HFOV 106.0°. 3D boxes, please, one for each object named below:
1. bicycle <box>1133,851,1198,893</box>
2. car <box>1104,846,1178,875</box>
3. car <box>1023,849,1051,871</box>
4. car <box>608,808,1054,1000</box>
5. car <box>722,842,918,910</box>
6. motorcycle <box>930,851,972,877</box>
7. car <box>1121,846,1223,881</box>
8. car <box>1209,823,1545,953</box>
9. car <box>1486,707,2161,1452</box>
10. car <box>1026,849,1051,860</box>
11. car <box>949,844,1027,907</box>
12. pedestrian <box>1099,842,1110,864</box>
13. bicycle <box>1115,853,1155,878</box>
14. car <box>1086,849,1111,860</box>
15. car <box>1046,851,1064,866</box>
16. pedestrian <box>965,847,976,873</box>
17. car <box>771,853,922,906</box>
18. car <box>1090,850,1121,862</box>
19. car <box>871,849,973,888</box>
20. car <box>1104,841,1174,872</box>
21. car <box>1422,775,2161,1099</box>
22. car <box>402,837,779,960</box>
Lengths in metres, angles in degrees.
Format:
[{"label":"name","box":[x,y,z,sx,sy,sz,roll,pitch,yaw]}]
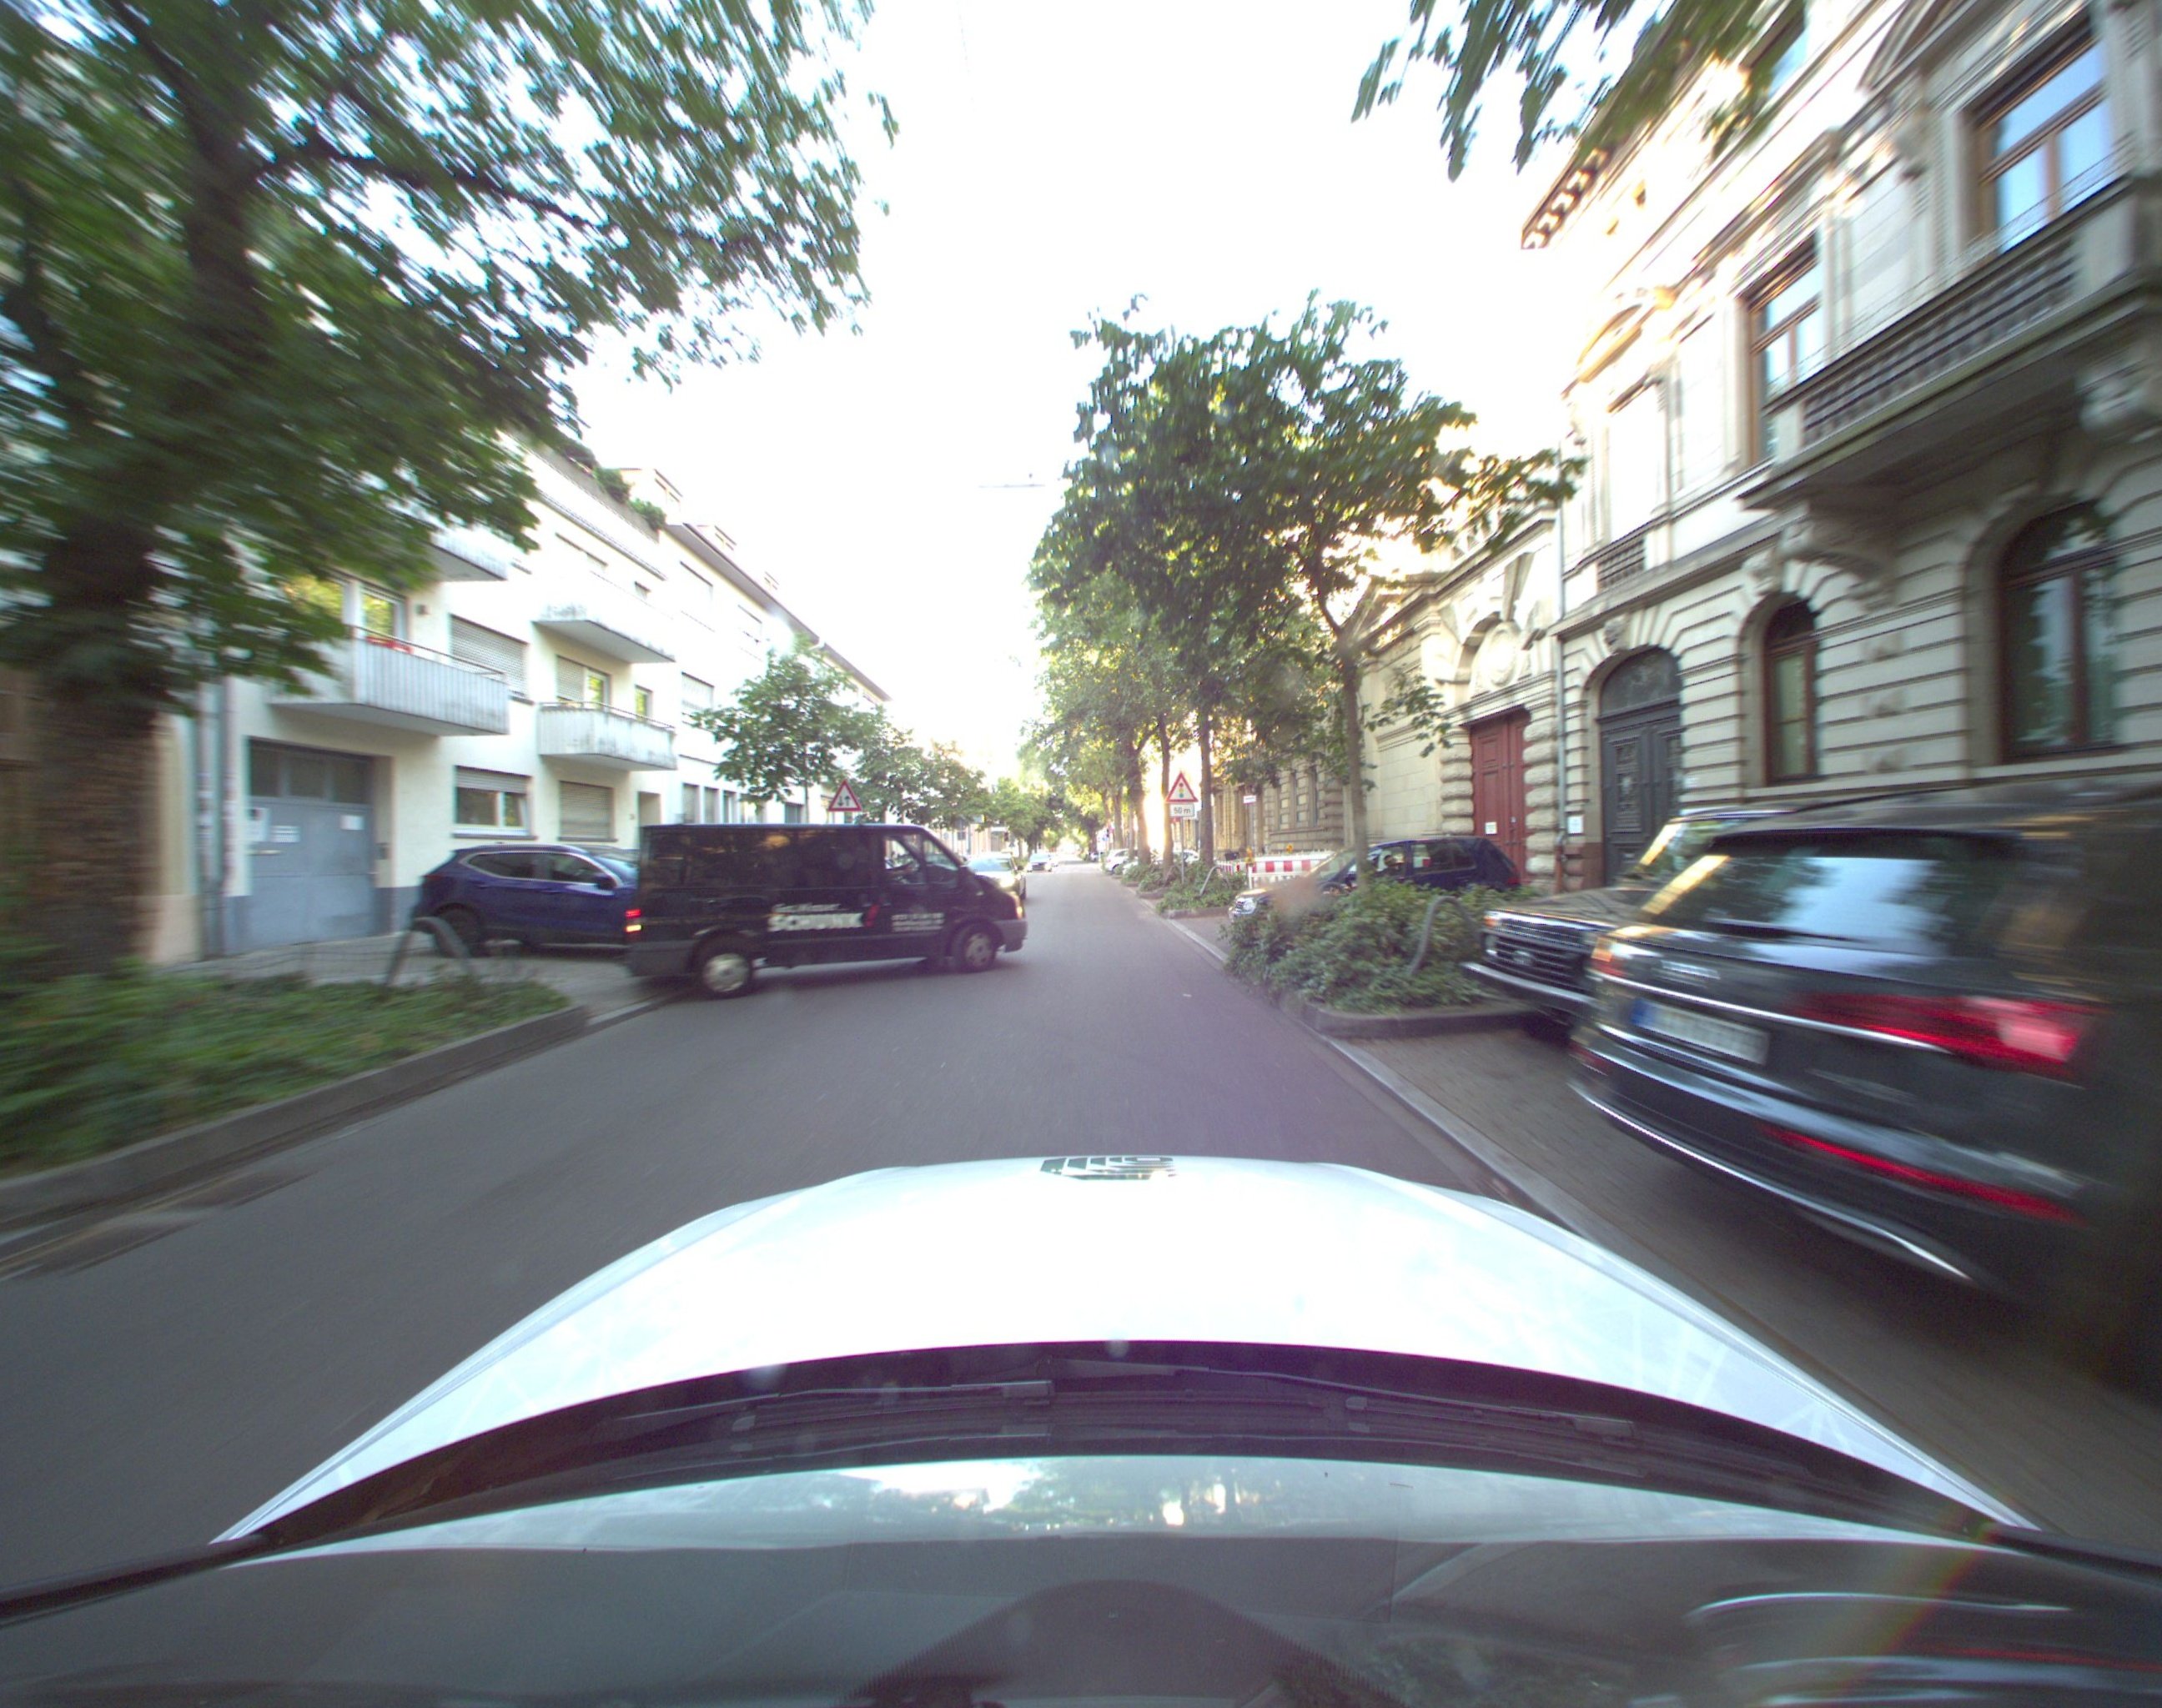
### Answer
[{"label":"bicycle","box":[2.764,0.577,26.716,2.041,1.360,0.508,0,0,-3]},{"label":"car","box":[3.535,0.357,48.263,4.208,1.560,1.972,-2,1,2]},{"label":"car","box":[-3.296,0.428,61.945,1.871,1.549,4.273,-2,0,-1]},{"label":"car","box":[-3.084,0.460,10.519,5.016,1.990,2.171,-1,1,-26]},{"label":"car","box":[-7.014,0.567,22.314,4.652,1.765,2.155,0,0,-2]},{"label":"motorcycle","box":[-7.573,0.586,47.468,2.130,1.419,0.973,-2,0,20]},{"label":"car","box":[4.190,0.421,38.000,4.567,1.437,1.925,-2,0,1]},{"label":"car","box":[4.184,0.461,12.011,4.211,1.481,1.854,-4,0,-1]},{"label":"car","box":[4.189,0.443,2.949,4.427,1.717,1.967,-3,-1,-1]},{"label":"car","box":[-8.787,0.107,168.080,5.050,2.083,2.262,-2,0,-2]},{"label":"car","box":[-2.667,0.573,24.333,1.872,1.640,4.643,-2,0,-2]},{"label":"pedestrian","box":[2.269,-0.103,78.046,1.040,2.146,1.063,0,-1,-1]},{"label":"bicycle","box":[2.883,0.586,43.528,2.022,1.204,0.486,-3,0,-14]},{"label":"car","box":[2.883,0.104,134.670,4.004,1.623,1.779,-2,0,-2]},{"label":"car","box":[-2.823,0.495,88.172,1.872,1.549,4.272,-2,0,-2]},{"label":"pedestrian","box":[-7.972,0.421,58.694,0.550,1.850,0.614,-1,0,13]},{"label":"car","box":[-7.039,0.745,24.722,4.012,1.494,1.781,1,0,2]},{"label":"car","box":[3.411,0.276,114.446,4.180,1.480,1.851,-3,0,-1]},{"label":"car","box":[-6.958,0.605,35.892,4.079,1.632,1.936,0,0,0]},{"label":"car","box":[3.949,0.172,55.883,4.530,1.914,1.948,-2,0,-3]},{"label":"car","box":[4.653,0.435,5.434,3.996,1.687,1.764,-2,1,-1]},{"label":"car","box":[-7.043,0.603,12.082,4.341,1.573,1.930,1,0,-1]}]
